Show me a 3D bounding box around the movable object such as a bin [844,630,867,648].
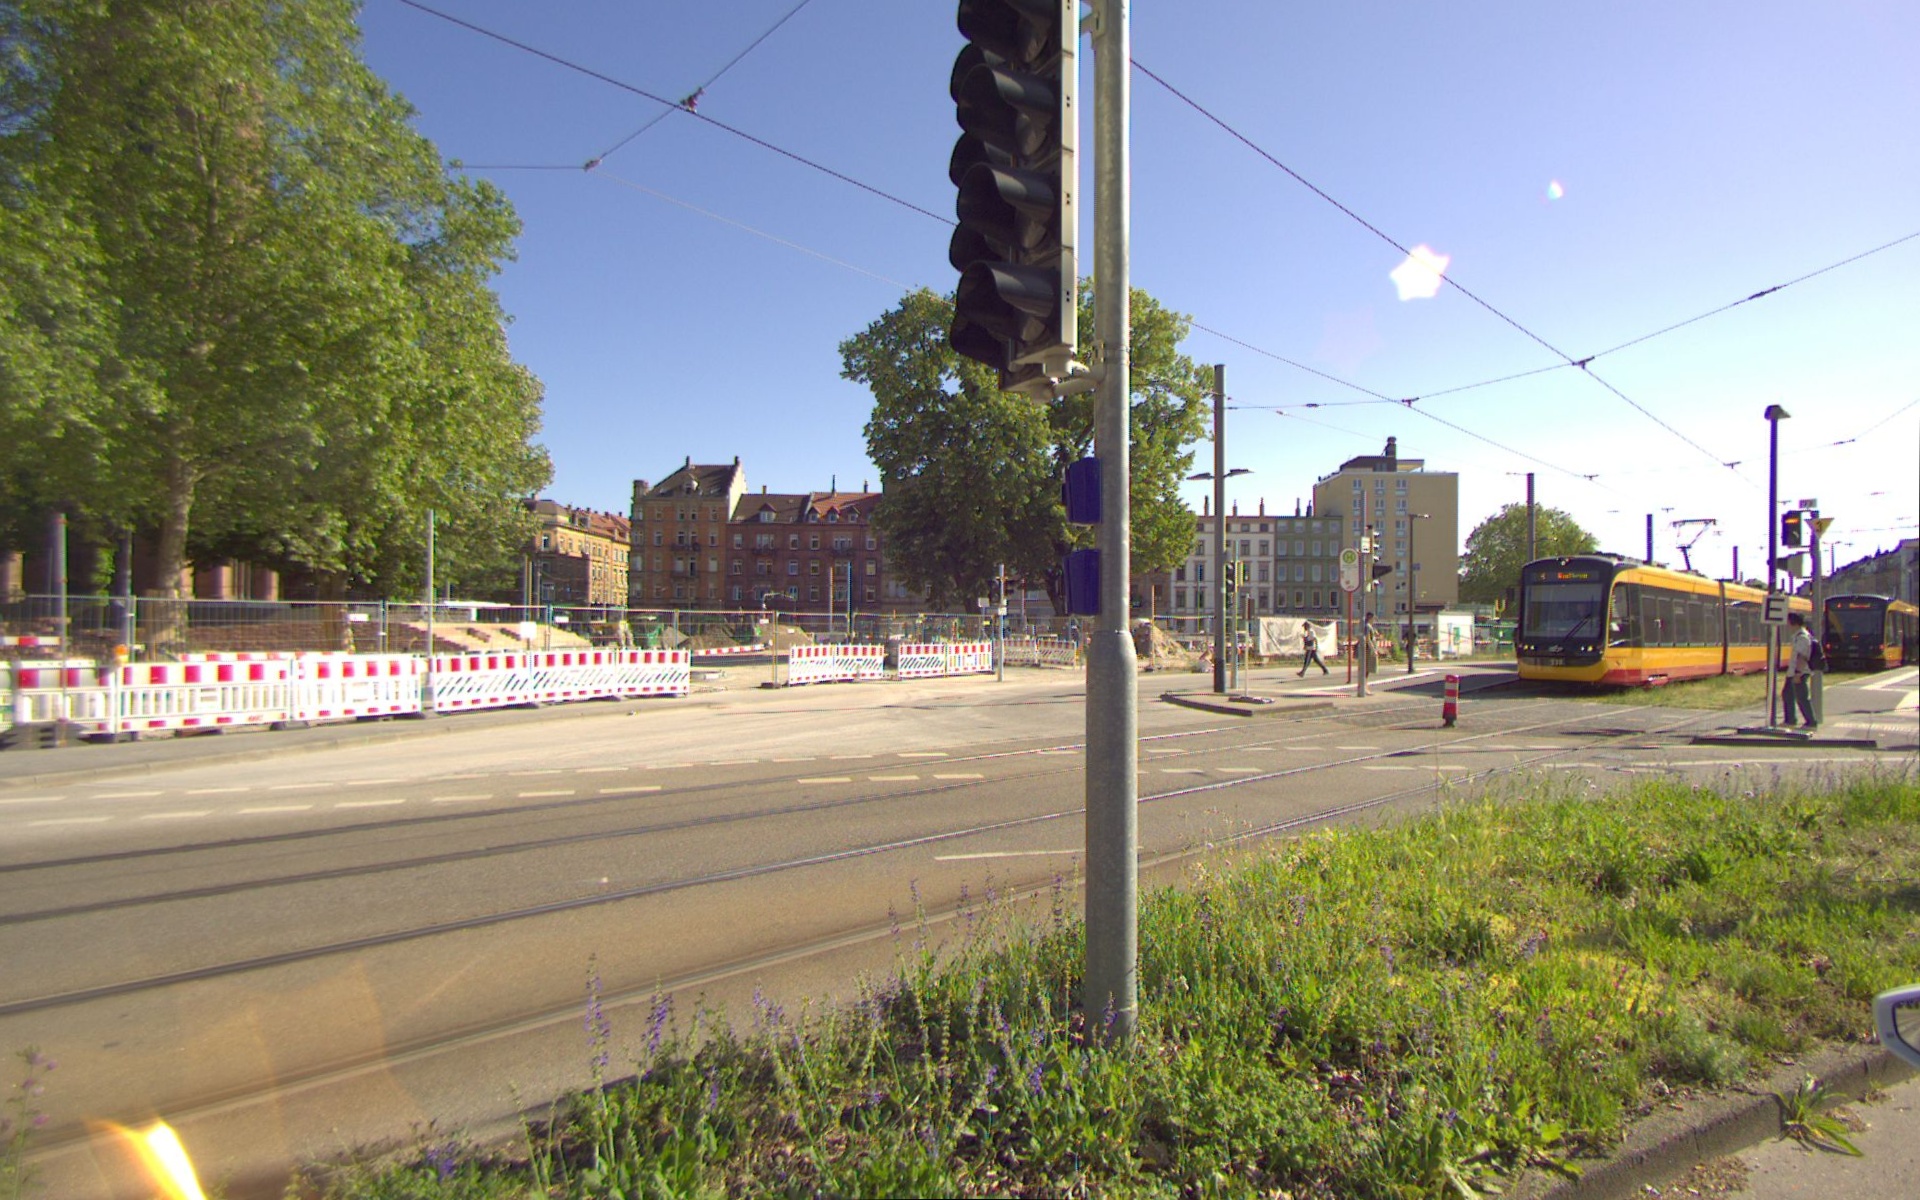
[{"bbox_3d":[-10.052,3.762,96.841,1.716,1.702,3.802,0,-1,2],"label":"movable object such as a bin"}]

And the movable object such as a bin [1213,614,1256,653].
[{"bbox_3d":[20.638,2.495,75.696,1.798,2.833,3.997,2,-1,-5],"label":"movable object such as a bin"}]

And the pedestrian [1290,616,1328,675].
[{"bbox_3d":[10.874,1.416,31.319,0.957,1.791,0.863,-1,-2,32],"label":"pedestrian"}]

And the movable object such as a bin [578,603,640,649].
[{"bbox_3d":[-26.440,1.921,75.819,3.060,3.214,5.244,2,-1,-5],"label":"movable object such as a bin"}]

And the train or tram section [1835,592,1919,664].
[{"bbox_3d":[49.786,1.540,54.342,10.472,3.554,2.843,2,-2,-44],"label":"train or tram section"}]

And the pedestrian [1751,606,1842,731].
[{"bbox_3d":[13.065,1.043,15.691,0.756,1.856,1.006,3,-1,-45],"label":"pedestrian"}]

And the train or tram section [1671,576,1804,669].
[{"bbox_3d":[33.430,0.989,42.947,11.132,3.554,2.790,2,-1,-43],"label":"train or tram section"}]

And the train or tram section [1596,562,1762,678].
[{"bbox_3d":[25.615,0.739,35.476,10.537,3.554,2.790,2,-1,-43],"label":"train or tram section"}]

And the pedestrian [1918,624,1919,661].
[{"bbox_3d":[48.929,2.165,50.755,0.697,1.881,0.668,3,-1,-38],"label":"pedestrian"}]

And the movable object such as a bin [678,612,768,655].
[{"bbox_3d":[-16.983,2.381,72.190,5.968,2.795,1.894,2,-1,-3],"label":"movable object such as a bin"}]

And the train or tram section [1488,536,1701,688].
[{"bbox_3d":[18.054,0.451,28.149,10.411,3.554,2.789,2,-2,-45],"label":"train or tram section"}]

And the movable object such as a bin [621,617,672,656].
[{"bbox_3d":[-20.083,2.309,64.539,1.857,2.377,4.230,2,-1,0],"label":"movable object such as a bin"}]

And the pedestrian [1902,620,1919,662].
[{"bbox_3d":[43.946,1.908,46.215,0.756,1.908,0.838,3,-1,-45],"label":"pedestrian"}]

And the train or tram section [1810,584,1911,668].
[{"bbox_3d":[42.325,1.234,47.046,10.472,3.554,2.843,2,-2,-44],"label":"train or tram section"}]

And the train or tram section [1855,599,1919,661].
[{"bbox_3d":[57.271,1.822,61.597,10.472,3.554,2.843,2,-1,-44],"label":"train or tram section"}]

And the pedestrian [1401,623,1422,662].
[{"bbox_3d":[20.803,1.952,46.279,0.795,1.791,0.661,2,-2,-45],"label":"pedestrian"}]

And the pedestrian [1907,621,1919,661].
[{"bbox_3d":[47.613,2.048,49.963,0.732,1.943,0.738,1,-1,45],"label":"pedestrian"}]

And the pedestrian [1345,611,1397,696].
[{"bbox_3d":[9.403,1.208,22.968,0.888,1.875,0.760,-1,1,39],"label":"pedestrian"}]
